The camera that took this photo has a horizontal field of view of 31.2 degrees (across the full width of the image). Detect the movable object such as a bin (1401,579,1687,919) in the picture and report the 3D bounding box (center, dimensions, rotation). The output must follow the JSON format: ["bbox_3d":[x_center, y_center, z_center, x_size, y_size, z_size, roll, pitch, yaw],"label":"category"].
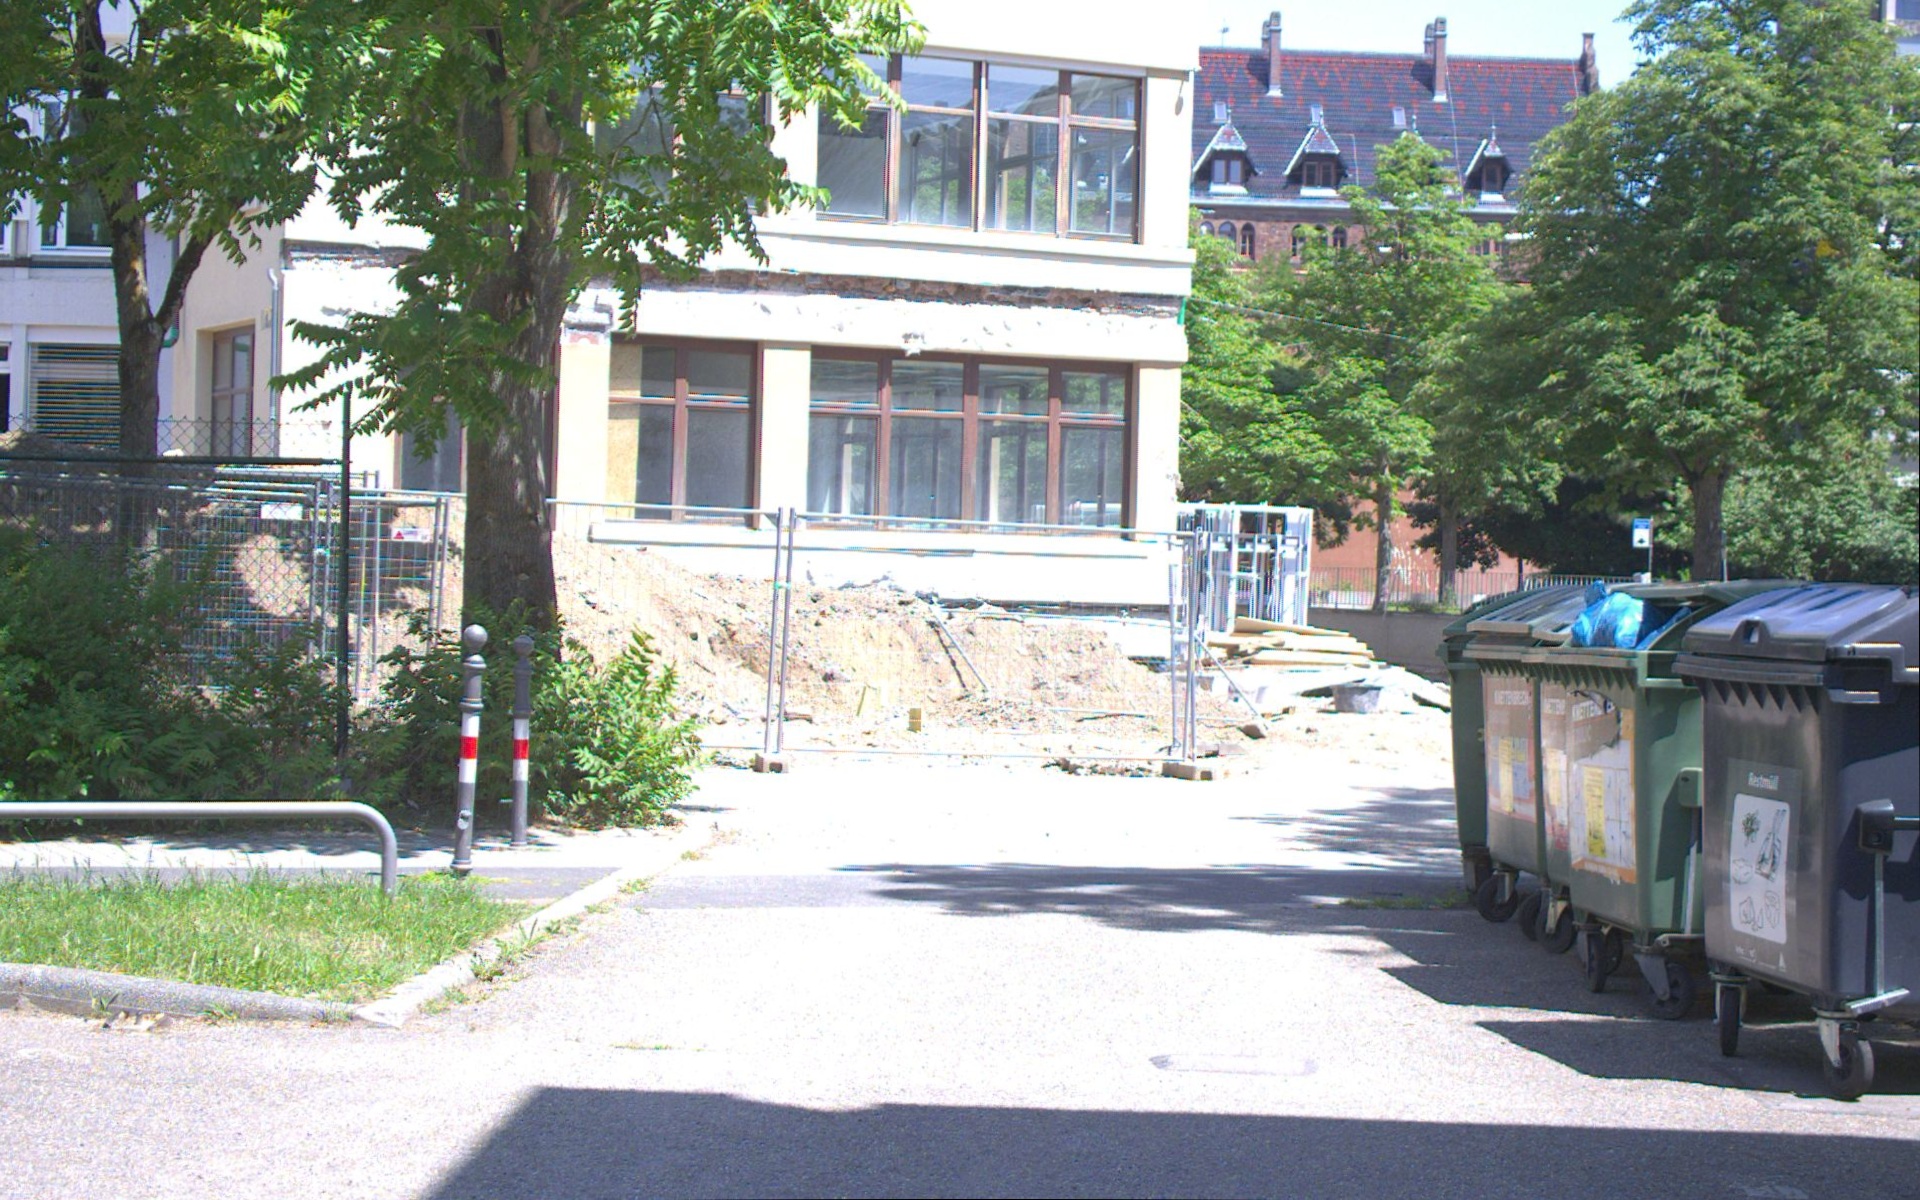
[{"bbox_3d":[2.757,0.670,16.112,1.179,1.465,1.332,3,0,13],"label":"movable object such as a bin"}]

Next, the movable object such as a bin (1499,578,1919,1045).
[{"bbox_3d":[2.604,0.685,11.750,1.179,1.465,1.312,3,0,-4],"label":"movable object such as a bin"}]

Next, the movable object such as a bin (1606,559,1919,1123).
[{"bbox_3d":[2.698,0.663,10.010,1.154,1.500,1.463,3,0,-7],"label":"movable object such as a bin"}]

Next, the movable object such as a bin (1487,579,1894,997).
[{"bbox_3d":[2.751,0.682,13.130,1.179,1.465,1.311,3,0,-2],"label":"movable object such as a bin"}]

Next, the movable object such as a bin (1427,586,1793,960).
[{"bbox_3d":[2.723,0.702,14.573,1.179,1.465,1.312,3,0,-3],"label":"movable object such as a bin"}]

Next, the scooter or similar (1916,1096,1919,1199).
[{"bbox_3d":[2.522,0.863,7.244,0.463,1.170,1.357,2,1,-6],"label":"scooter or similar"}]
